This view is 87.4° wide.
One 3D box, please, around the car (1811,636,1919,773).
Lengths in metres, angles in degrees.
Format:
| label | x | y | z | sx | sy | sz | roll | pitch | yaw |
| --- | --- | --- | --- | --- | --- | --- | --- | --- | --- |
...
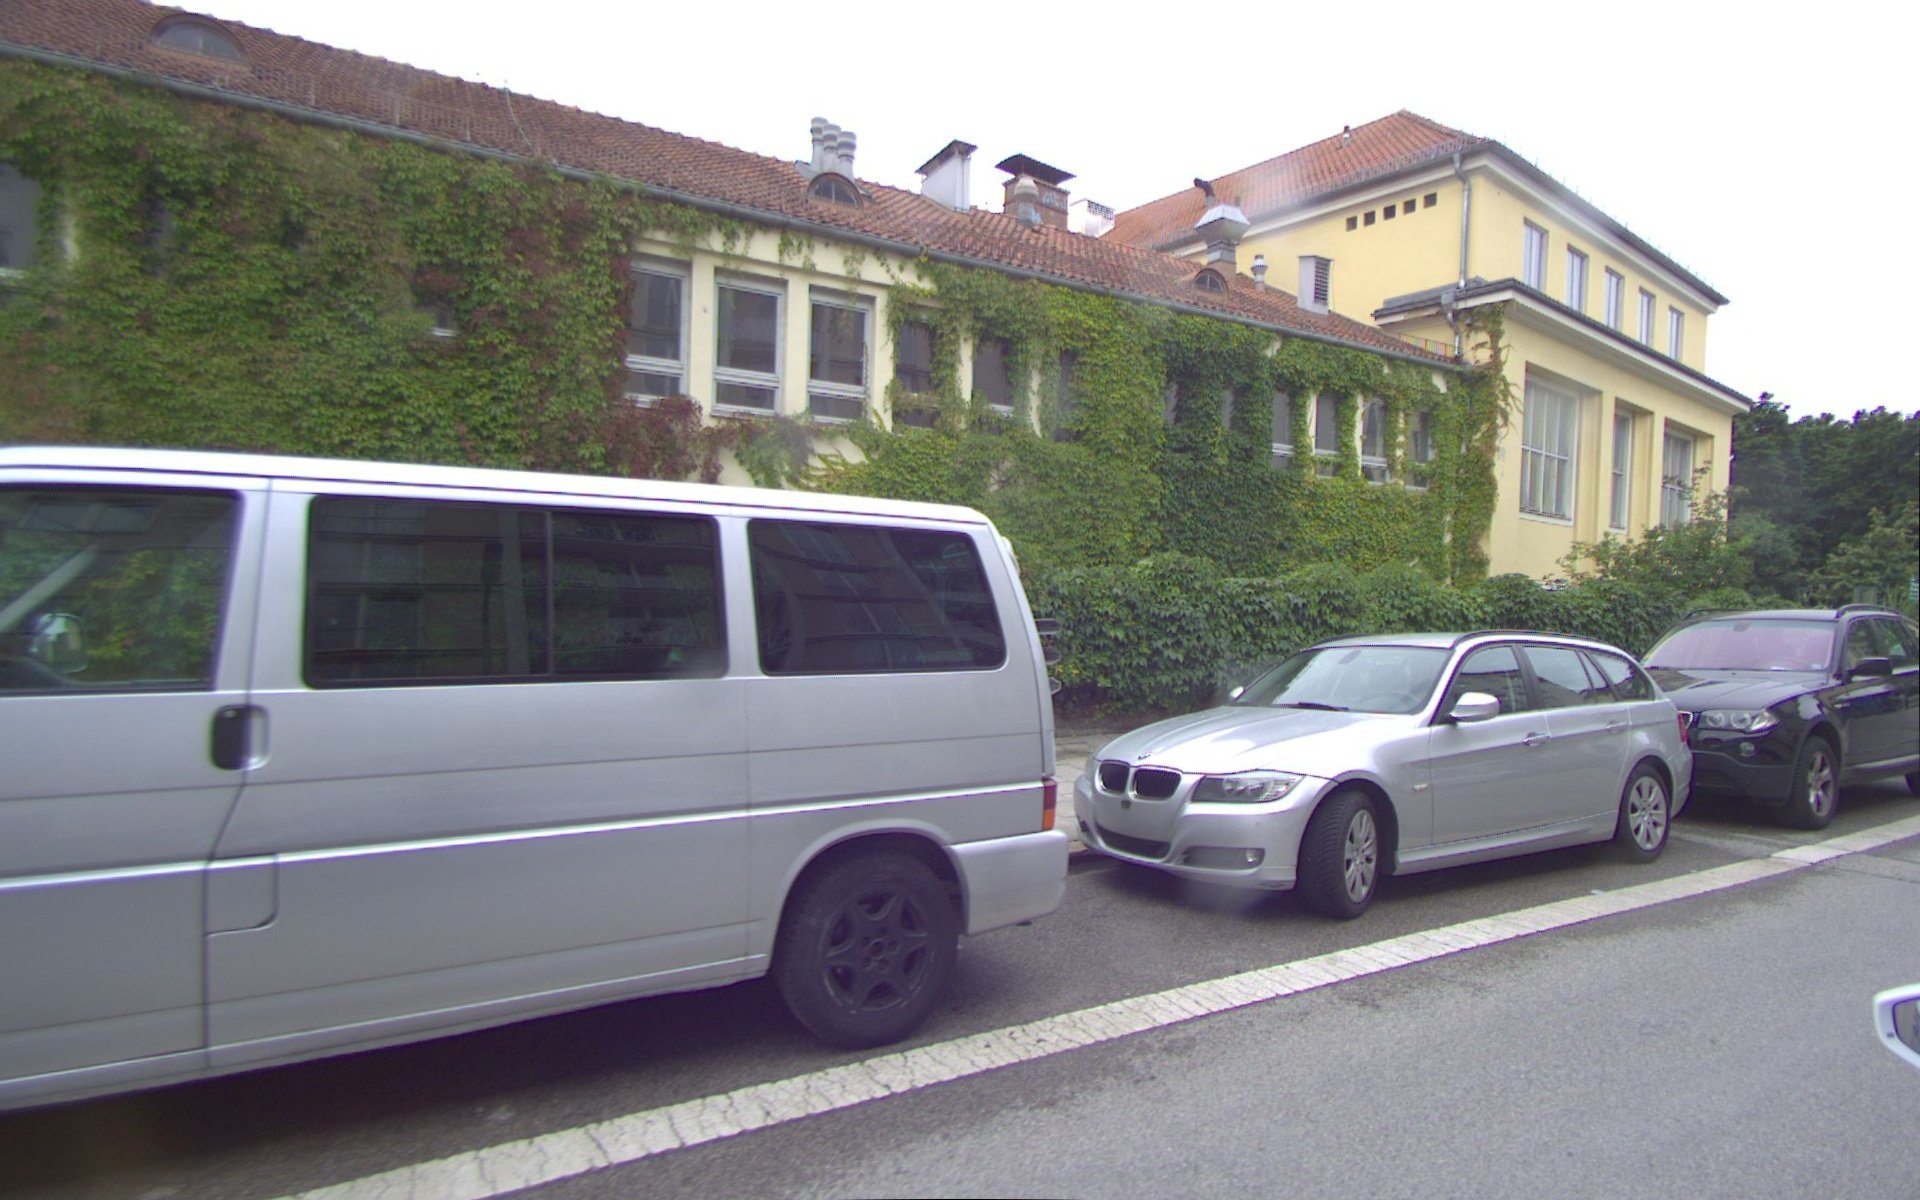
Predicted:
| label | x | y | z | sx | sy | sz | roll | pitch | yaw |
| --- | --- | --- | --- | --- | --- | --- | --- | --- | --- |
| car | 11.499 | 1.118 | 11.421 | 4.025 | 1.396 | 1.611 | 1 | -2 | -31 |

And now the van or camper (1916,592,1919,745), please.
| label | x | y | z | sx | sy | sz | roll | pitch | yaw |
| --- | --- | --- | --- | --- | --- | --- | --- | --- | --- |
| van or camper | 15.637 | 0.971 | 14.233 | 4.701 | 2.093 | 1.950 | 1 | -2 | -32 |

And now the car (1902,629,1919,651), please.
| label | x | y | z | sx | sy | sz | roll | pitch | yaw |
| --- | --- | --- | --- | --- | --- | --- | --- | --- | --- |
| car | 74.550 | 3.077 | 77.430 | 1.836 | 1.655 | 4.275 | 1 | 0 | 30 |

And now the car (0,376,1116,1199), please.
| label | x | y | z | sx | sy | sz | roll | pitch | yaw |
| --- | --- | --- | --- | --- | --- | --- | --- | --- | --- |
| car | -1.938 | 0.501 | 3.471 | 4.700 | 1.900 | 1.985 | 1 | -3 | -29 |

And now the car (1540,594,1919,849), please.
| label | x | y | z | sx | sy | sz | roll | pitch | yaw |
| --- | --- | --- | --- | --- | --- | --- | --- | --- | --- |
| car | 7.072 | 0.894 | 8.760 | 4.374 | 1.752 | 1.611 | 1 | -2 | -31 |

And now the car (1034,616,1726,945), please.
| label | x | y | z | sx | sy | sz | roll | pitch | yaw |
| --- | --- | --- | --- | --- | --- | --- | --- | --- | --- |
| car | 2.744 | 0.896 | 6.287 | 4.373 | 1.441 | 1.694 | 1 | -4 | -30 |
